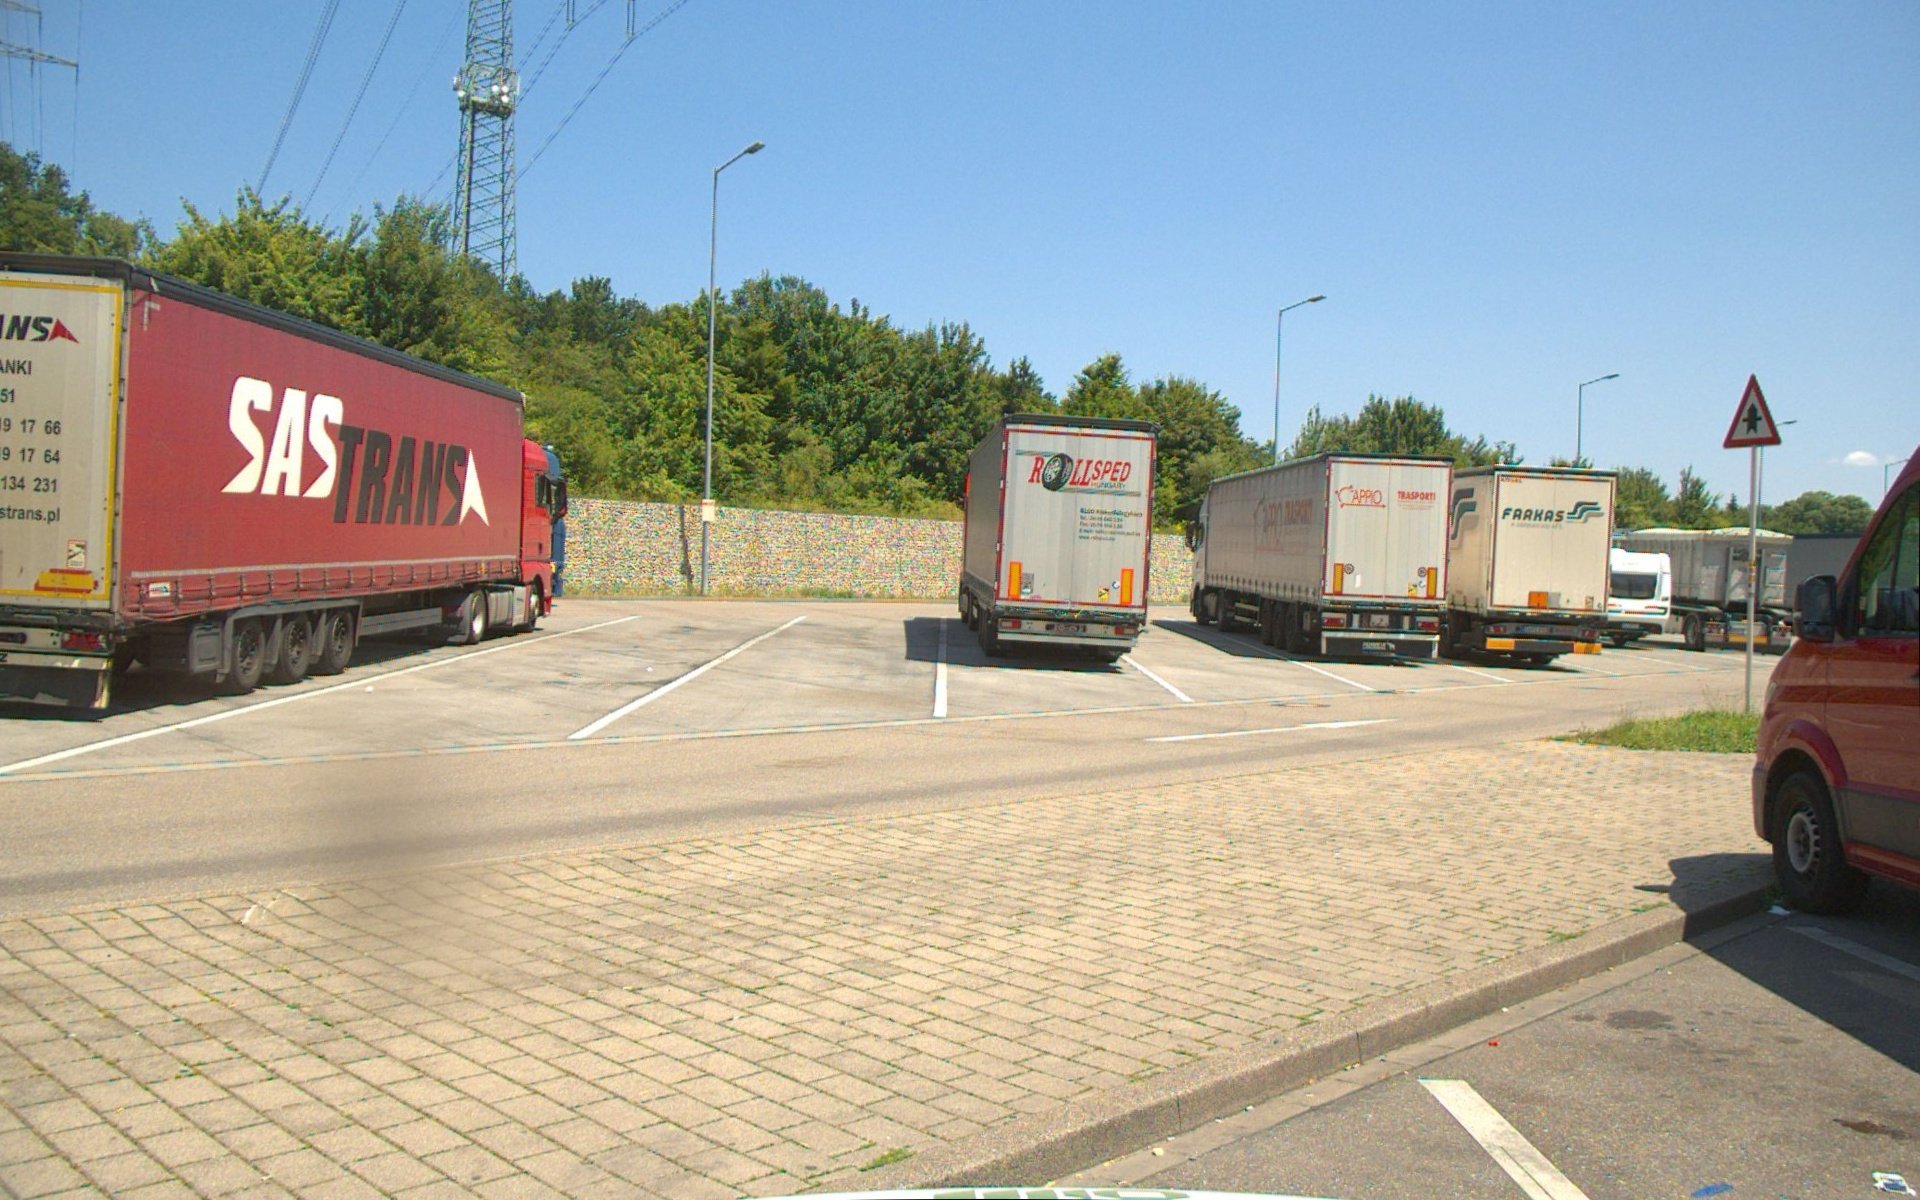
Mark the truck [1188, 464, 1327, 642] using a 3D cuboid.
[{"bbox_3d":[8.033,-1.252,45.376,2.607,4.530,5.863,1,1,-1],"label":"truck"}]

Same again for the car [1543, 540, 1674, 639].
[{"bbox_3d":[18.246,-0.273,46.736,2.072,2.645,3.999,1,0,-1],"label":"car"}]

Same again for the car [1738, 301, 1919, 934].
[{"bbox_3d":[4.975,0.108,5.560,1.952,2.679,6.385,1,1,3],"label":"car"}]

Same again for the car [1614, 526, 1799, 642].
[{"bbox_3d":[21.712,-0.502,48.494,2.448,3.128,6.350,1,1,-1],"label":"car"}]

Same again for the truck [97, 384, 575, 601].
[{"bbox_3d":[-13.482,-2.128,36.865,2.203,4.104,9.989,2,0,43],"label":"truck"}]

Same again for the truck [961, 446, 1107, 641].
[{"bbox_3d":[1.559,-1.240,37.750,2.814,4.050,6.027,1,1,-2],"label":"truck"}]

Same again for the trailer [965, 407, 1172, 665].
[{"bbox_3d":[1.758,-1.128,32.169,2.839,4.083,11.313,1,1,-2],"label":"trailer"}]

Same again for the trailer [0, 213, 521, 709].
[{"bbox_3d":[-8.629,-1.340,20.986,2.743,4.293,13.200,1,1,-1],"label":"trailer"}]

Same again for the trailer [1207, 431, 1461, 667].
[{"bbox_3d":[8.185,-1.100,38.346,2.627,4.530,12.826,1,1,-1],"label":"trailer"}]

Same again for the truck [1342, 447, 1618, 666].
[{"bbox_3d":[11.727,-0.837,38.873,2.534,4.299,11.967,1,0,-1],"label":"truck"}]

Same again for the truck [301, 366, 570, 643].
[{"bbox_3d":[-8.716,-1.511,28.242,2.748,4.205,5.893,1,1,-1],"label":"truck"}]
